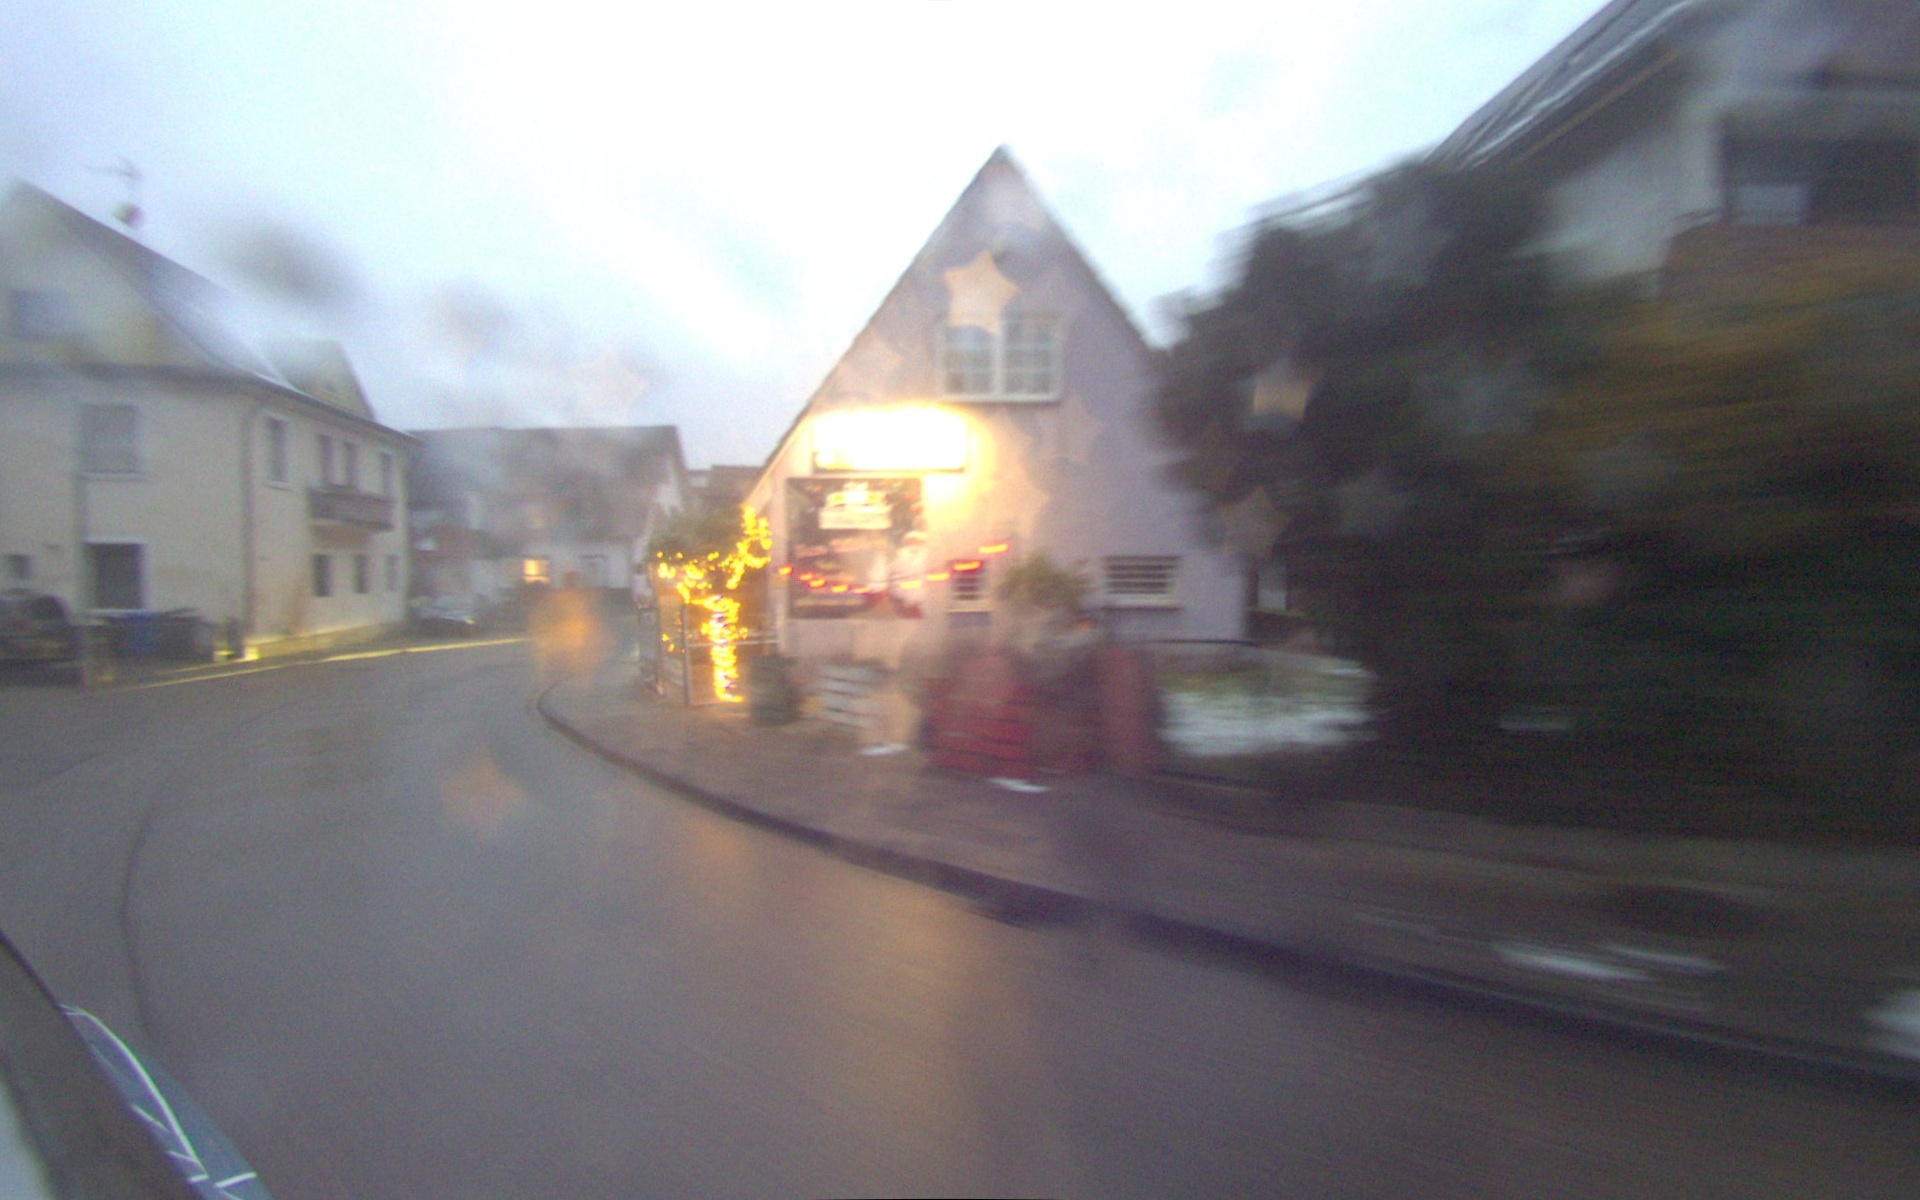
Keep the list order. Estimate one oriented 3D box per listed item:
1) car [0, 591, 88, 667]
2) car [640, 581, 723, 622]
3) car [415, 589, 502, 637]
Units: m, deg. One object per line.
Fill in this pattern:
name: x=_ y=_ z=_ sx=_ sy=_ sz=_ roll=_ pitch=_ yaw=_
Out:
car: x=-20.986 y=0.561 z=21.455 sx=3.437 sy=1.517 sz=1.652 roll=2 pitch=0 yaw=-5
car: x=-11.781 y=0.016 z=43.076 sx=1.968 sy=1.569 sz=4.228 roll=-1 pitch=1 yaw=6
car: x=-18.390 y=0.446 z=37.292 sx=1.783 sy=1.498 sz=4.288 roll=2 pitch=2 yaw=-11
